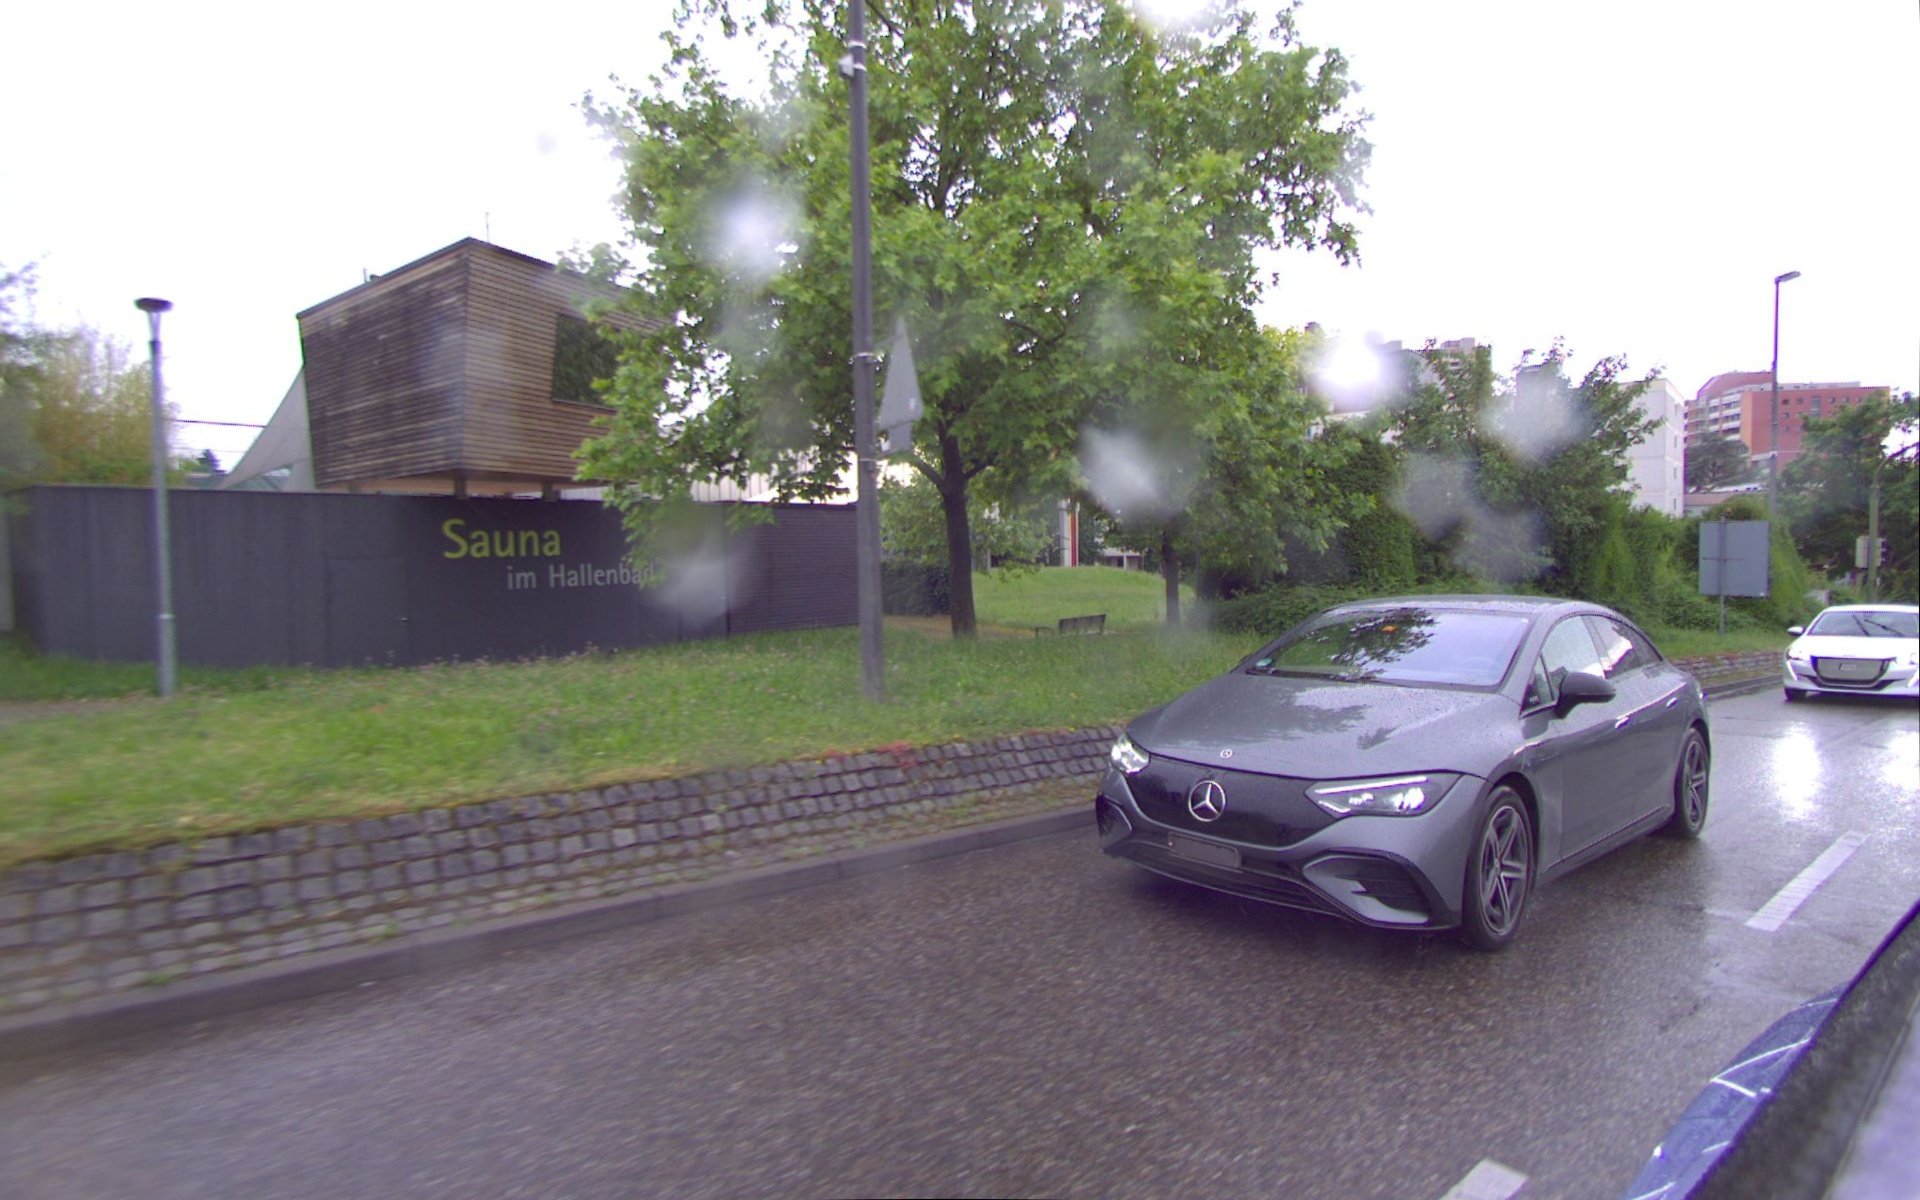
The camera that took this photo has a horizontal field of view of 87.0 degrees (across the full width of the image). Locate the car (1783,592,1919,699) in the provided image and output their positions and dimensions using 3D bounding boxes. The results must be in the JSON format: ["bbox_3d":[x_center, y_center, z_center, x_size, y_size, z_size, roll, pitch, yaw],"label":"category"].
[{"bbox_3d":[14.303,0.609,15.561,3.962,1.415,1.718,-1,0,-38],"label":"car"}]

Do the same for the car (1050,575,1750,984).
[{"bbox_3d":[2.758,0.615,5.786,4.470,1.462,1.835,-1,0,-39],"label":"car"}]
